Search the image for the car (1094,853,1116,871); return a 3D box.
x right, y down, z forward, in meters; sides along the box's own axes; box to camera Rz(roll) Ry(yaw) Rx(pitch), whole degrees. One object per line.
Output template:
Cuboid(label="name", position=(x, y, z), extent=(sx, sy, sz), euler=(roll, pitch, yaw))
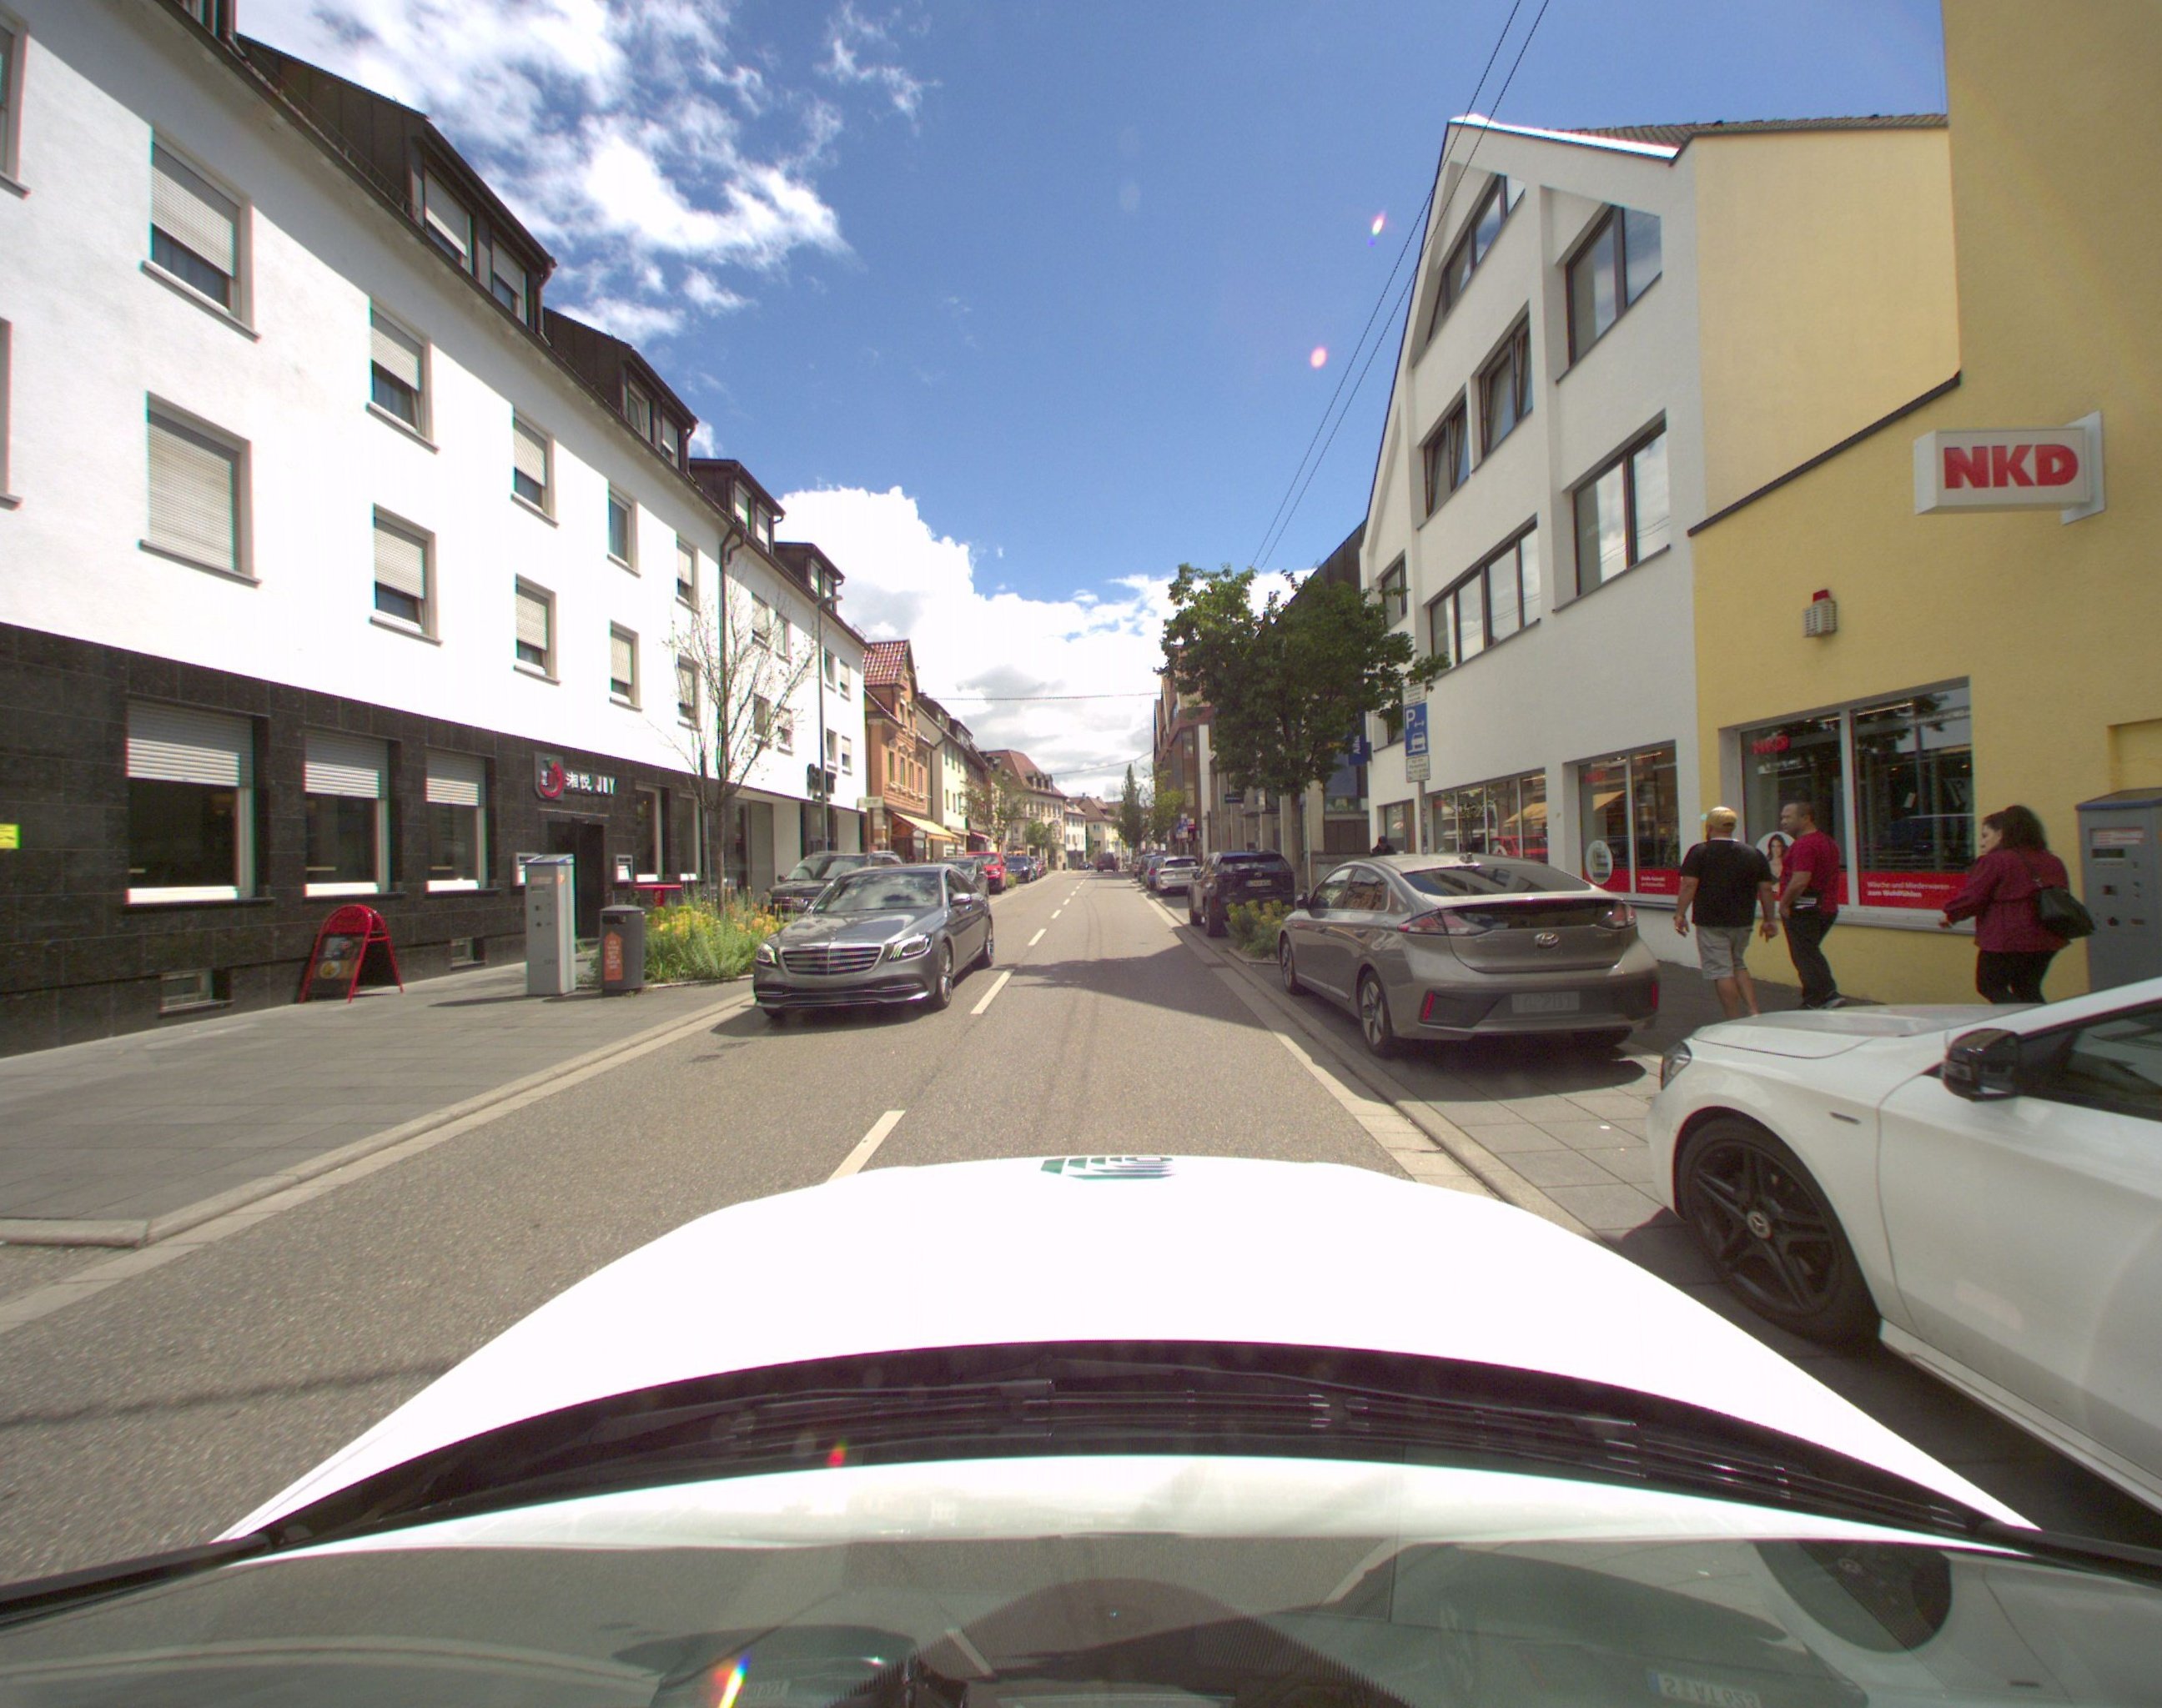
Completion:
Cuboid(label="car", position=(2.485, 0.865, 85.816), extent=(2.035, 1.848, 4.997), euler=(0, -1, -1))

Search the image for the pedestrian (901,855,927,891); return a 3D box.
Cuboid(label="pedestrian", position=(-7.320, 0.834, 35.637), extent=(0.797, 1.574, 0.784), euler=(-1, -1, 34))

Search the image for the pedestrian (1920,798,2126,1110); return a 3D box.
Cuboid(label="pedestrian", position=(5.864, 0.591, 5.102), extent=(0.585, 1.841, 0.576), euler=(0, -1, 2))

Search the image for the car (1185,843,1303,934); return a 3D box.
Cuboid(label="car", position=(3.102, 0.634, 16.240), extent=(1.714, 1.577, 4.112), euler=(0, -1, 3))

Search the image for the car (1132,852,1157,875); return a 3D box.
Cuboid(label="car", position=(4.574, 0.682, 59.239), extent=(1.603, 1.495, 3.798), euler=(-5, 0, 3))

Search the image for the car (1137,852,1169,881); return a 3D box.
Cuboid(label="car", position=(4.125, 0.701, 47.009), extent=(1.603, 1.532, 3.798), euler=(-3, 0, 3))

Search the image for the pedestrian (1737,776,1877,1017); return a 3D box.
Cuboid(label="pedestrian", position=(5.780, 0.324, 6.514), extent=(0.585, 1.841, 0.576), euler=(0, -1, 2))

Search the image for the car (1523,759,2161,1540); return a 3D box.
Cuboid(label="car", position=(2.850, 0.556, 1.468), extent=(1.624, 1.476, 4.961), euler=(0, -1, 3))

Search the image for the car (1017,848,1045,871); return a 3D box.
Cuboid(label="car", position=(-3.749, 0.420, 61.100), extent=(1.794, 1.604, 4.217), euler=(-2, 0, 0))

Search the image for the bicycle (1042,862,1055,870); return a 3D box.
Cuboid(label="bicycle", position=(-4.249, 1.513, 105.852), extent=(1.619, 1.031, 0.570), euler=(0, -1, 16))

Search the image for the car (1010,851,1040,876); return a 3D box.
Cuboid(label="car", position=(-3.790, 0.623, 55.680), extent=(1.794, 1.604, 4.348), euler=(-2, 0, -2))

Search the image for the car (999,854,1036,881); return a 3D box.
Cuboid(label="car", position=(-3.860, 0.800, 50.093), extent=(1.792, 1.598, 4.391), euler=(-1, 0, 2))

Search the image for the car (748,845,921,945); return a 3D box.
Cuboid(label="car", position=(-4.829, 0.759, 16.753), extent=(1.808, 1.755, 4.674), euler=(0, -1, 4))

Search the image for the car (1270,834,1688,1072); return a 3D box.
Cuboid(label="car", position=(2.979, 0.646, 7.257), extent=(1.715, 1.476, 4.355), euler=(0, -1, 2))

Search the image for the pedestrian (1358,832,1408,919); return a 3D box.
Cuboid(label="pedestrian", position=(6.207, 0.441, 16.767), extent=(0.738, 1.737, 0.757), euler=(0, -1, 2))

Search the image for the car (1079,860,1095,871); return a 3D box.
Cuboid(label="car", position=(0.891, 1.652, 118.531), extent=(1.613, 1.486, 3.818), euler=(0, -1, 13))

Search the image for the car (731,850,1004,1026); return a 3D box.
Cuboid(label="car", position=(-2.225, 0.775, 9.980), extent=(1.898, 1.563, 4.648), euler=(-3, 0, 2))

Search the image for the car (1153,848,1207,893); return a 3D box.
Cuboid(label="car", position=(3.689, 0.619, 30.890), extent=(1.714, 1.577, 4.431), euler=(0, -1, 3))

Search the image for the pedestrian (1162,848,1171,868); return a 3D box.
Cuboid(label="pedestrian", position=(7.846, 0.404, 74.540), extent=(0.734, 1.814, 0.712), euler=(0, -1, 1))

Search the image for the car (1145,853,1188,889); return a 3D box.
Cuboid(label="car", position=(3.757, 0.737, 36.306), extent=(1.714, 1.494, 4.112), euler=(0, -1, 3))

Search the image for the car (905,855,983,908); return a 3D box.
Cuboid(label="car", position=(-4.752, 0.932, 28.902), extent=(1.808, 1.755, 4.467), euler=(0, -1, 3))

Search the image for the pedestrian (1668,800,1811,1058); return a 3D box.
Cuboid(label="pedestrian", position=(4.913, 0.536, 6.113), extent=(0.585, 1.841, 0.576), euler=(0, -1, 2))

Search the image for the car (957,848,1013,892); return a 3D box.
Cuboid(label="car", position=(-4.333, 0.731, 37.442), extent=(1.809, 1.889, 4.843), euler=(0, -1, 2))
